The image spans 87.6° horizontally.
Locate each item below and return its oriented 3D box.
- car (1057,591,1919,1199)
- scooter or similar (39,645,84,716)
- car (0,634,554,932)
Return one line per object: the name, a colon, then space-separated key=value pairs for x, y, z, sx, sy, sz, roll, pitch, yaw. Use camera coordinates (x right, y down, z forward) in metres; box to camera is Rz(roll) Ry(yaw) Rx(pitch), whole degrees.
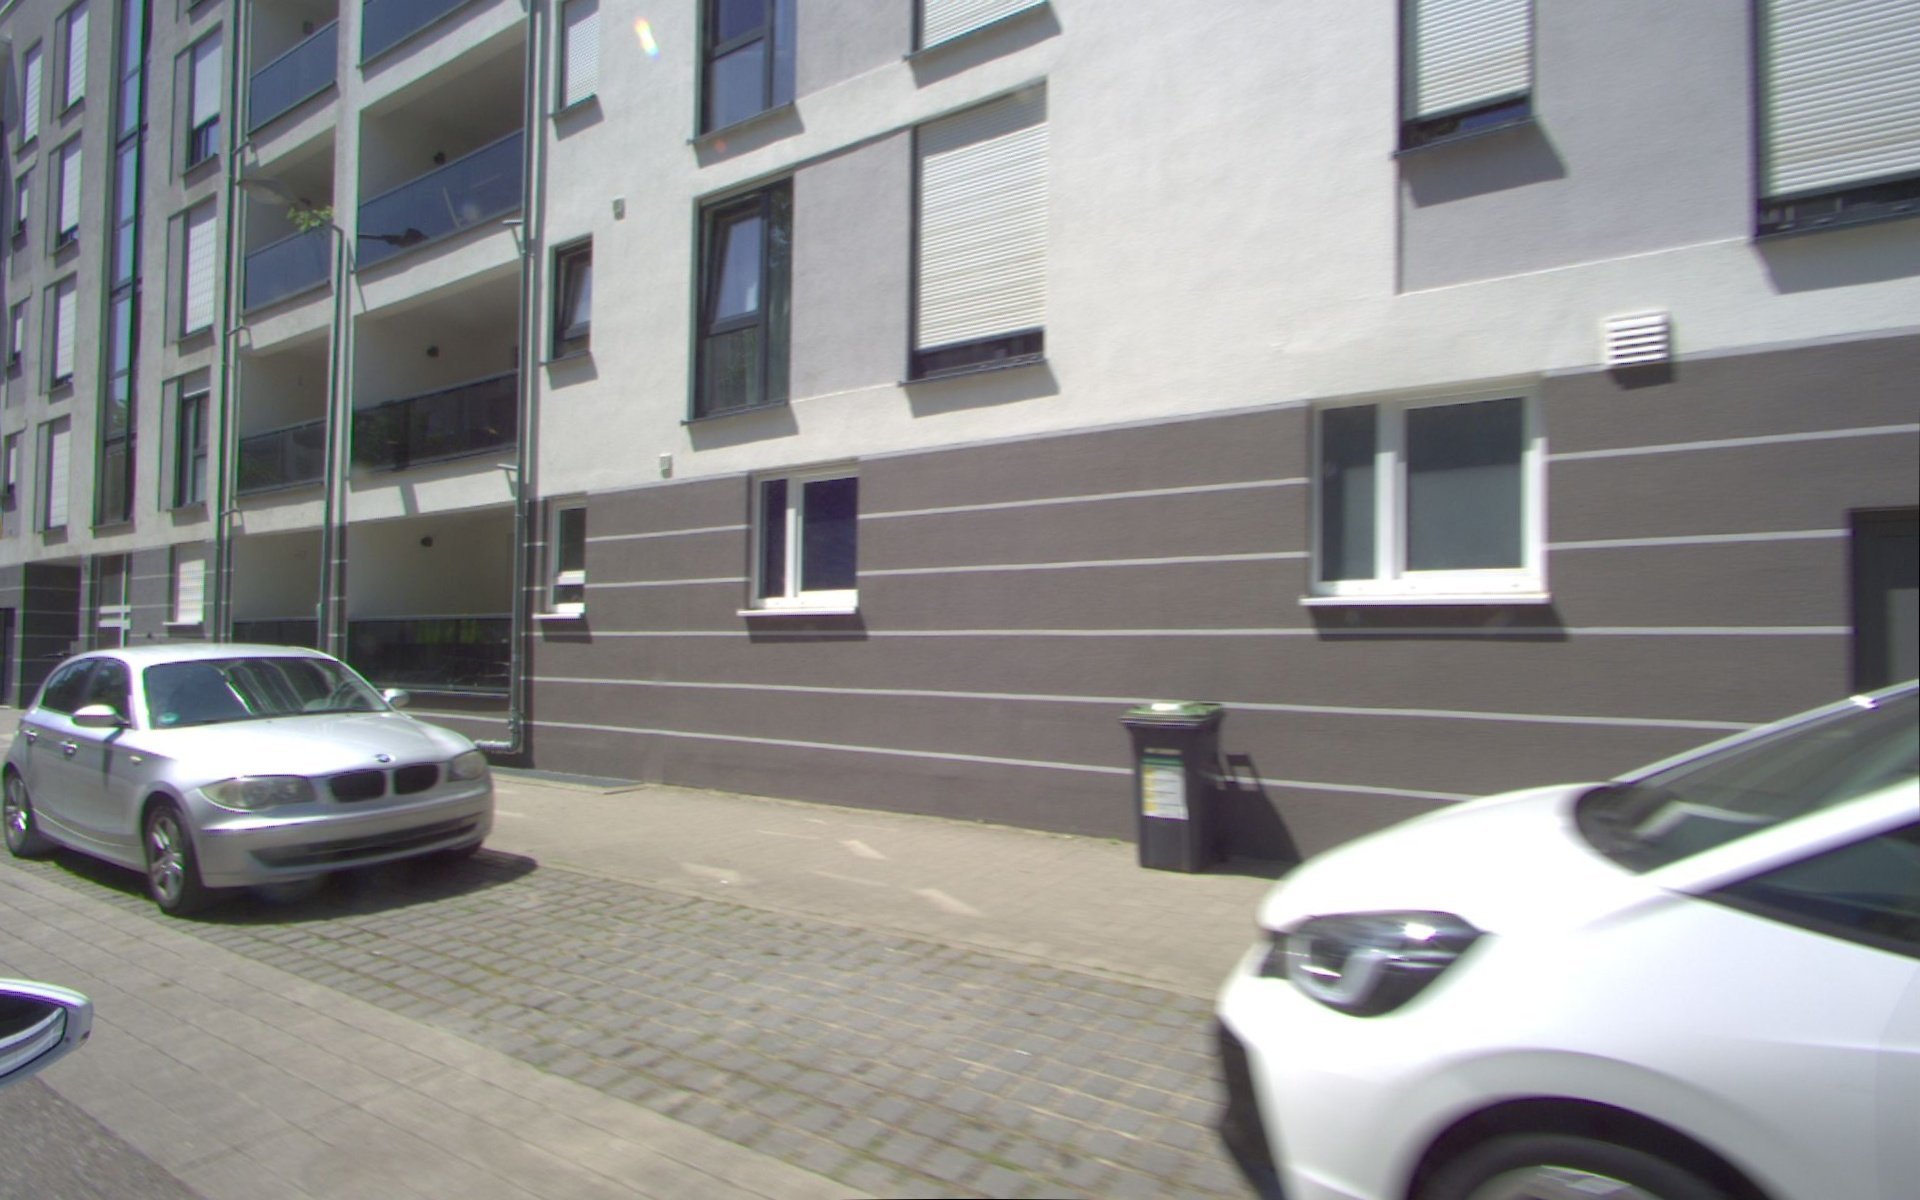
car: x=2.461 y=0.761 z=1.869 sx=4.198 sy=1.524 sz=1.805 roll=-1 pitch=-2 yaw=31
scooter or similar: x=-16.600 y=1.464 z=18.504 sx=0.542 sy=1.240 sz=1.516 roll=4 pitch=-4 yaw=-42
car: x=-4.911 y=0.978 z=6.835 sx=4.365 sy=1.433 sz=1.842 roll=-1 pitch=-3 yaw=34
